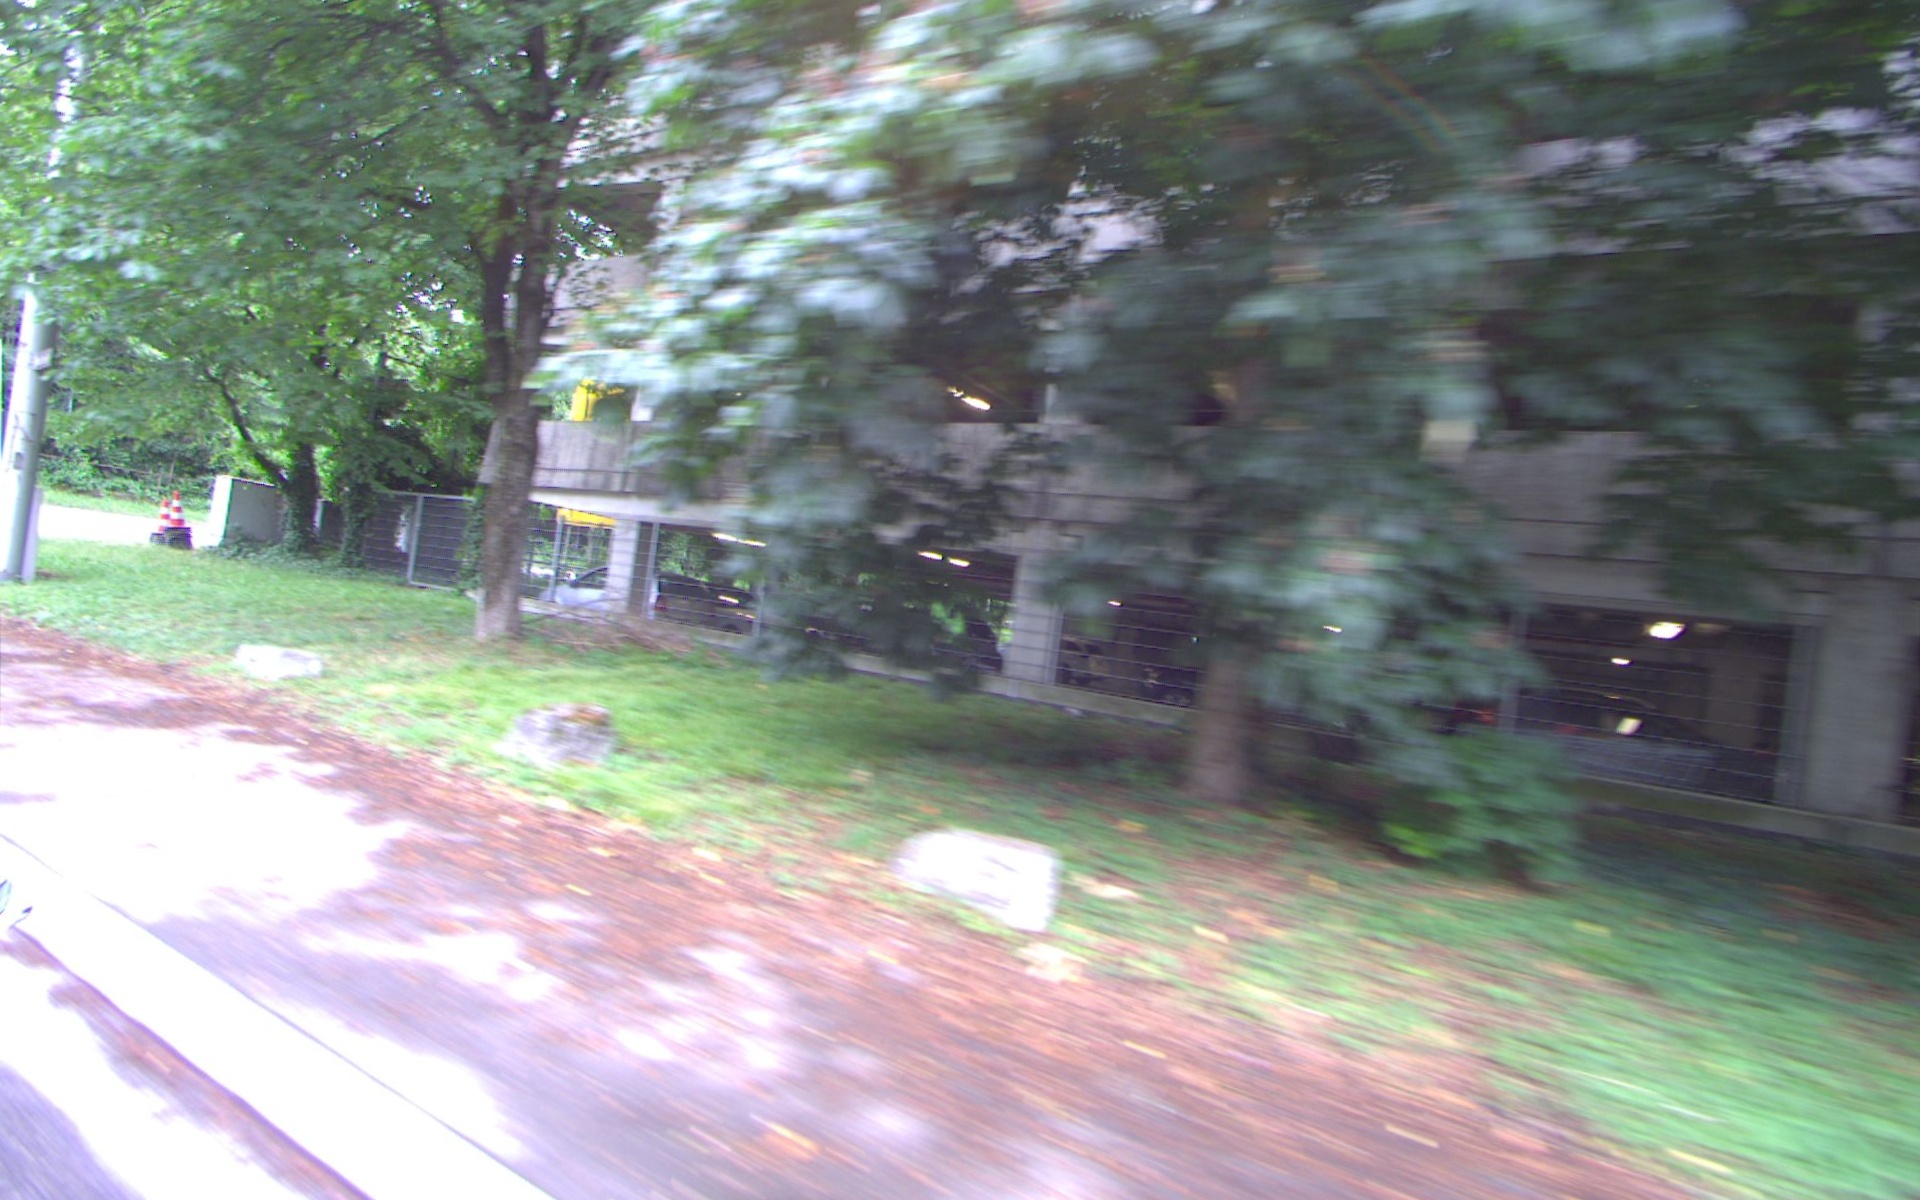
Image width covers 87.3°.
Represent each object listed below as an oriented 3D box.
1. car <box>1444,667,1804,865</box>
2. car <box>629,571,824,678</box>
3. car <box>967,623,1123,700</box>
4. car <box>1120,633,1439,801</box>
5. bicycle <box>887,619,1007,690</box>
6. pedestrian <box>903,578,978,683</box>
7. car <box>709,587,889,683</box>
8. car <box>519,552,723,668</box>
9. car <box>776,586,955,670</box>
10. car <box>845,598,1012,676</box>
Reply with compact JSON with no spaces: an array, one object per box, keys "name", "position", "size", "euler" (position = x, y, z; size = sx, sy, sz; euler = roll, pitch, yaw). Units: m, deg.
[{"name":"car","position":[9.366,2.263,14.529],"size":[3.935,2.036,1.998],"euler":[5,-3,33]},{"name":"car","position":[-4.855,0.494,20.791],"size":[3.707,1.727,1.584],"euler":[6,-3,32]},{"name":"car","position":[2.813,2.041,33.605],"size":[4.658,1.855,1.923],"euler":[7,-2,33]},{"name":"car","position":[5.315,1.870,16.891],"size":[4.597,2.036,1.998],"euler":[6,-3,31]},{"name":"bicycle","position":[-0.177,0.723,13.424],"size":[1.469,0.744,0.448],"euler":[6,-2,24]},{"name":"pedestrian","position":[-0.260,0.420,13.741],"size":[0.626,1.332,0.642],"euler":[6,-2,31]},{"name":"car","position":[-3.680,0.793,22.920],"size":[3.658,1.682,1.734],"euler":[6,-3,32]},{"name":"car","position":[-6.412,0.165,18.933],"size":[3.658,1.727,1.484],"euler":[6,-3,32]},{"name":"car","position":[-2.385,0.691,25.259],"size":[3.934,1.569,1.998],"euler":[5,-3,32]},{"name":"car","position":[-0.868,1.001,27.200],"size":[3.934,1.569,1.998],"euler":[5,-3,32]}]
